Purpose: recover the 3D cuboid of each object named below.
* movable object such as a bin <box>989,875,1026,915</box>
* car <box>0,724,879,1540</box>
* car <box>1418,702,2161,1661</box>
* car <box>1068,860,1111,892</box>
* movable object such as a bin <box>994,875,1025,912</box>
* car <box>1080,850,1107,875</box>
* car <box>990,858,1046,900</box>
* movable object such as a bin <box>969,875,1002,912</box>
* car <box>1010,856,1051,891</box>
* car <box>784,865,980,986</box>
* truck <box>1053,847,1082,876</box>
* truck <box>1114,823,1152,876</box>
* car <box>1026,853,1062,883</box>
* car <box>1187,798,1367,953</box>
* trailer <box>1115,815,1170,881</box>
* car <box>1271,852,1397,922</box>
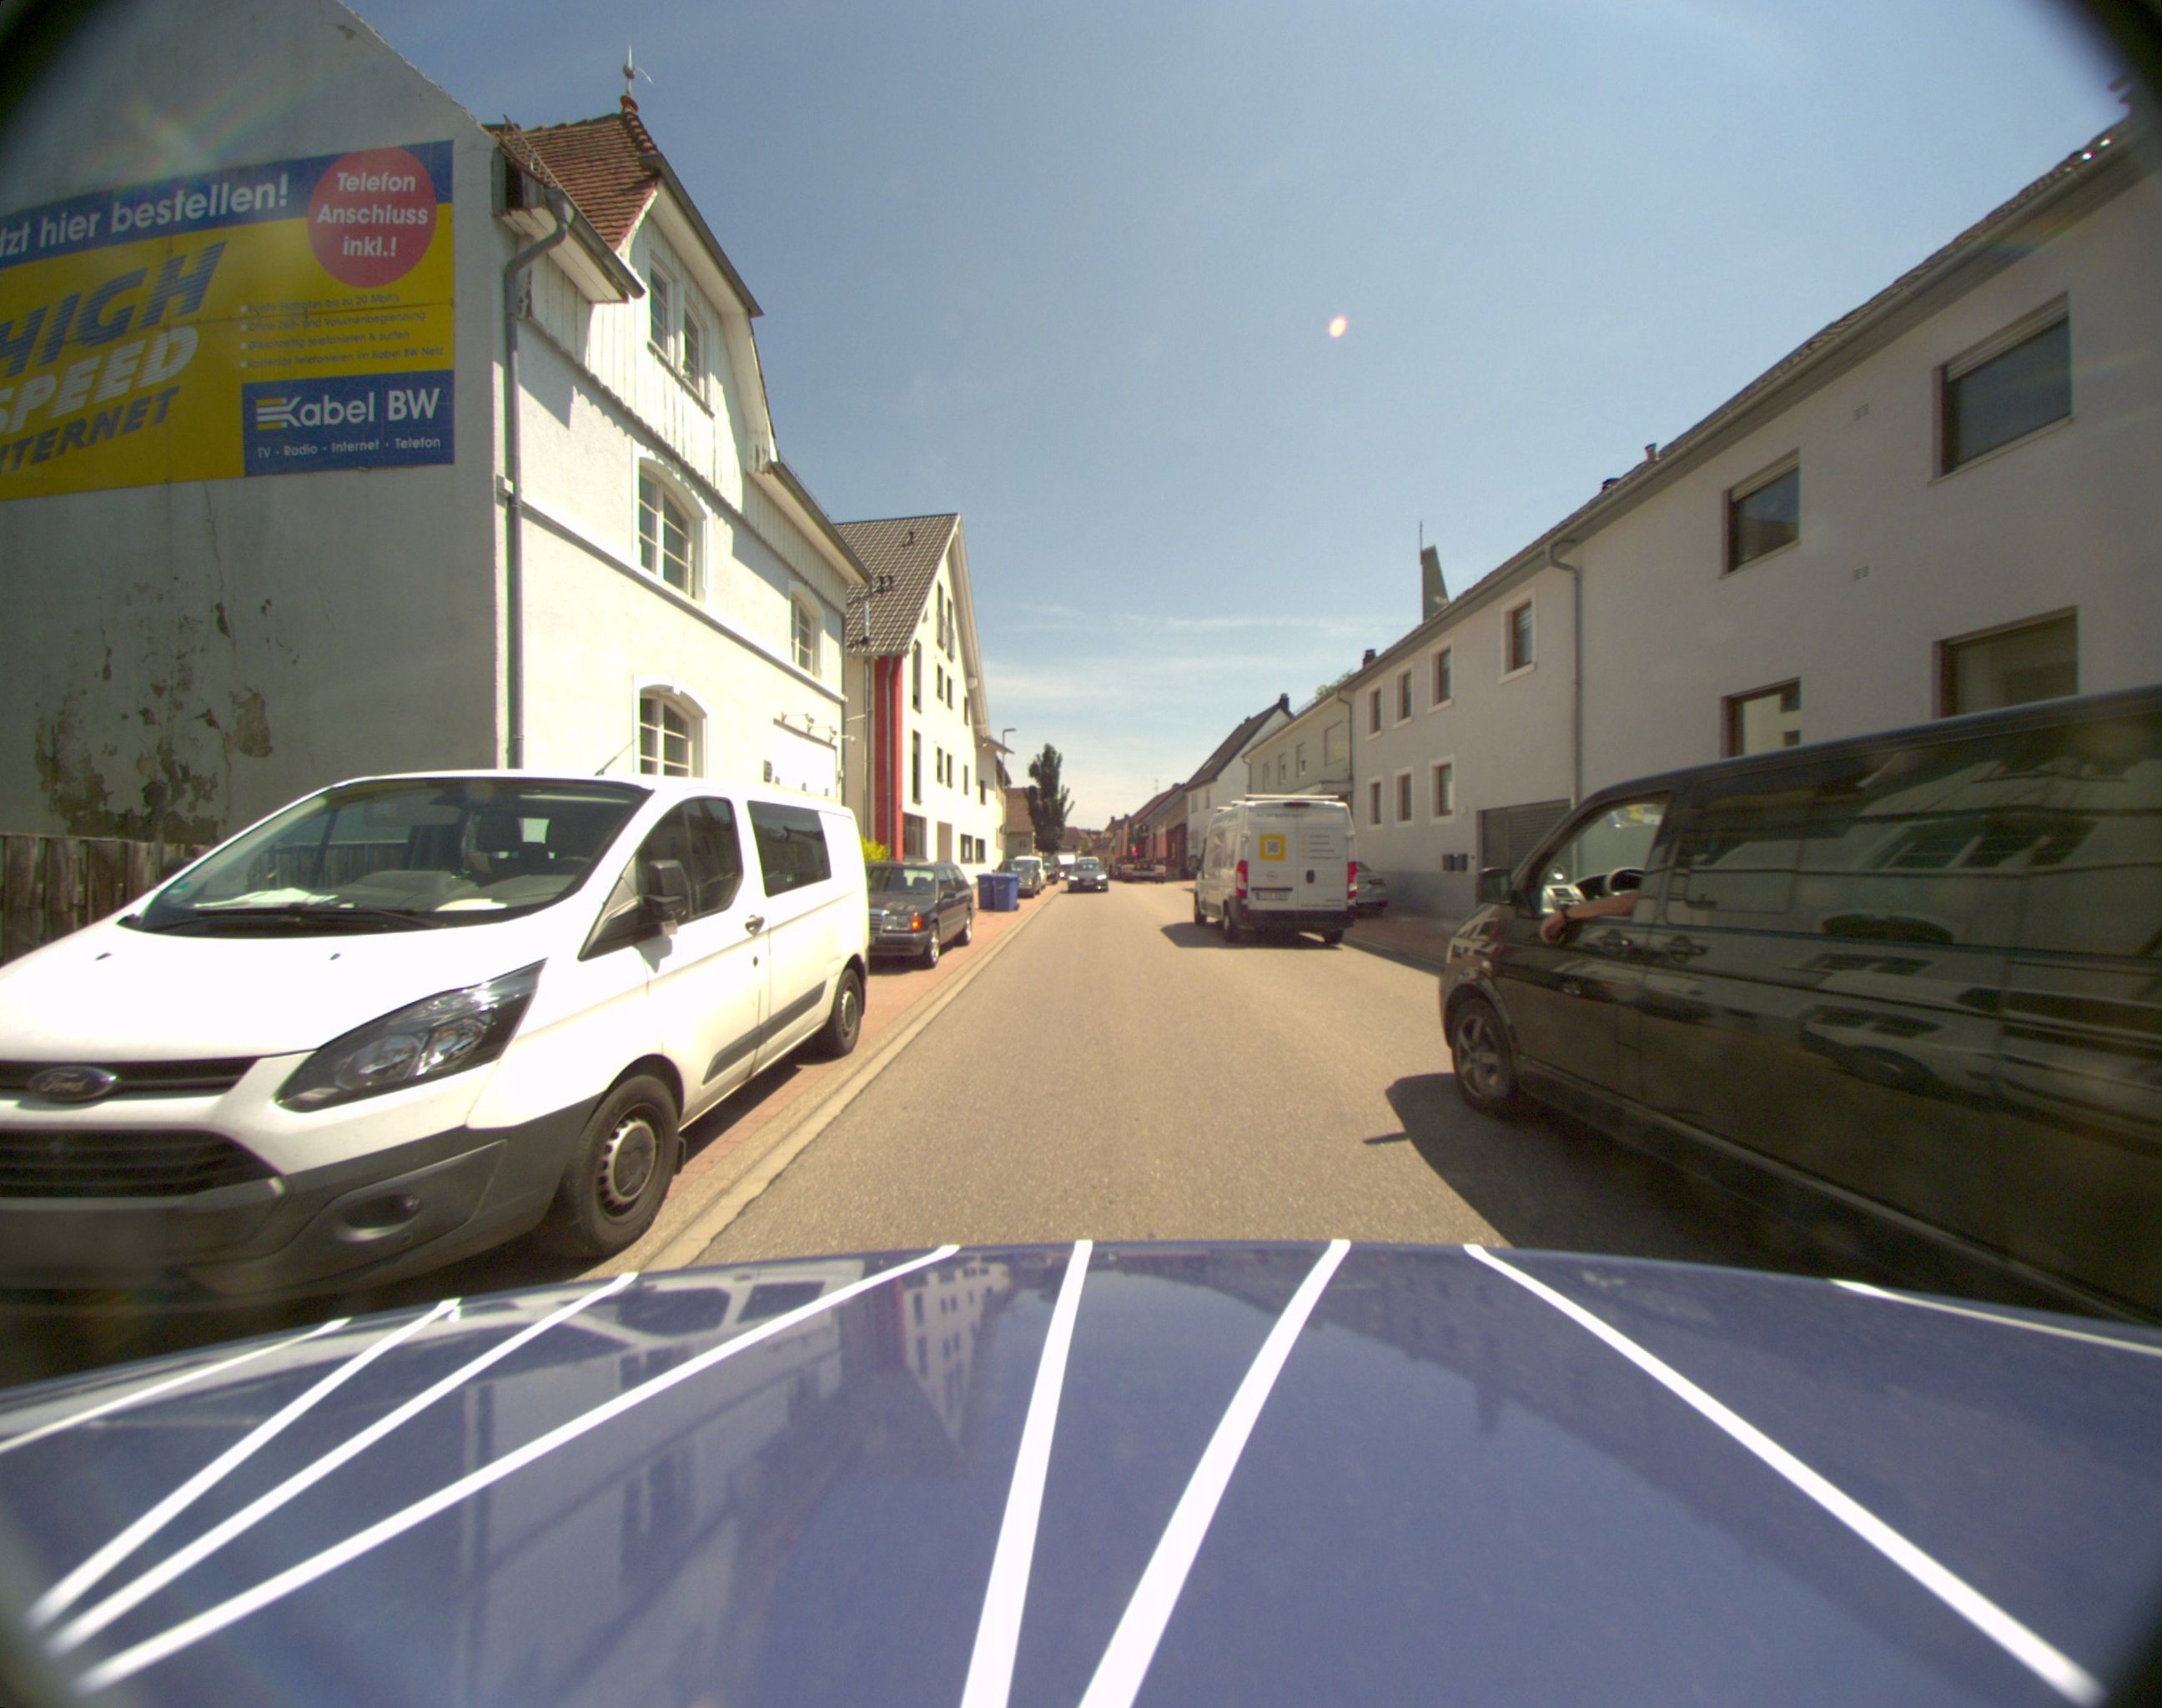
[{"bbox_3d":[-2.098,1.147,21.714,0.723,1.067,0.973,1,0,17],"label":"movable object such as a bin"},{"bbox_3d":[-2.708,0.675,4.208,1.951,1.959,4.784,0,0,-1],"label":"car"},{"bbox_3d":[3.142,0.667,2.462,1.885,1.932,5.118,0,0,1],"label":"car"},{"bbox_3d":[0.386,0.961,34.300,1.786,1.364,3.607,-1,0,0],"label":"car"},{"bbox_3d":[-2.113,1.164,22.457,0.656,1.029,0.685,1,0,17],"label":"movable object such as a bin"},{"bbox_3d":[1.006,0.705,62.007,2.079,1.949,5.519,-1,0,0],"label":"car"},{"bbox_3d":[-2.405,0.918,30.092,1.704,1.438,4.836,2,0,1],"label":"car"},{"bbox_3d":[-2.813,1.156,22.443,0.655,1.054,0.836,1,0,17],"label":"movable object such as a bin"},{"bbox_3d":[-2.352,0.870,36.050,1.610,1.513,3.545,2,0,0],"label":"car"},{"bbox_3d":[-2.816,0.939,11.872,1.774,1.457,4.578,0,0,1],"label":"car"},{"bbox_3d":[-1.771,0.913,95.554,2.869,3.491,8.315,1,0,-6],"label":"truck"},{"bbox_3d":[4.138,-0.357,61.355,2.625,3.962,6.852,1,0,1],"label":"truck"},{"bbox_3d":[-2.108,0.821,44.419,1.807,1.604,4.549,1,-1,0],"label":"car"},{"bbox_3d":[3.581,0.363,15.165,2.130,2.527,5.461,1,0,0],"label":"car"},{"bbox_3d":[4.067,-0.359,53.683,2.637,3.956,15.698,1,0,1],"label":"trailer"},{"bbox_3d":[6.461,0.775,19.965,1.812,1.548,4.565,-3,0,1],"label":"car"}]
